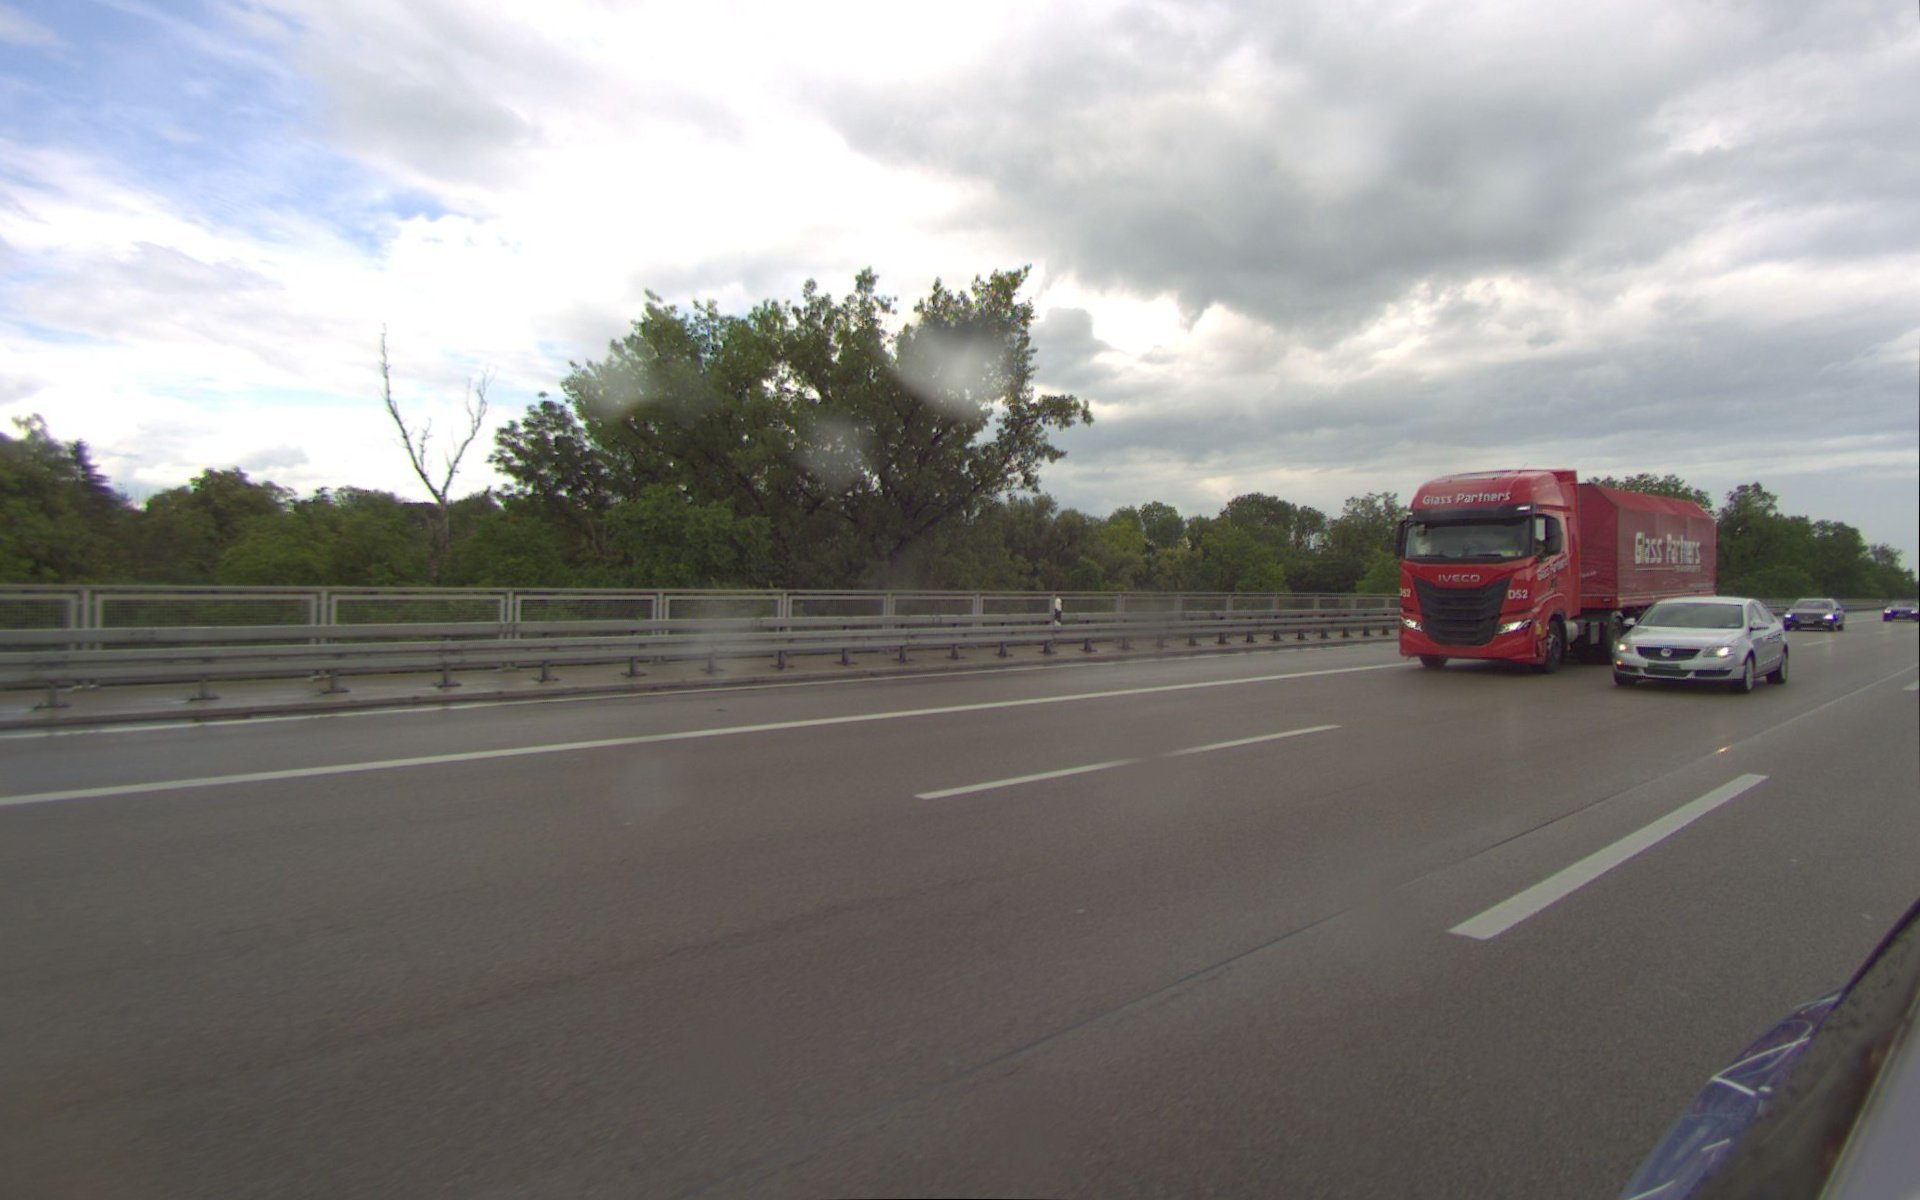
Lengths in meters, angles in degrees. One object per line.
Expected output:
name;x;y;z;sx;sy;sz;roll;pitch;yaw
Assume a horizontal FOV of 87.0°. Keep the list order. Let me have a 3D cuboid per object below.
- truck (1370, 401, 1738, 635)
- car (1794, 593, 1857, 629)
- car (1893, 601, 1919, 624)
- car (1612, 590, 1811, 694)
truck;14.767;-1.401;23.913;15.369;4.054;3.156;0;0;-43
car;39.606;0.491;46.269;4.285;1.562;1.816;0;0;-44
car;64.124;0.812;68.062;4.512;1.465;1.778;0;0;-44
car;12.415;0.606;16.623;4.173;1.465;1.896;0;0;-43
